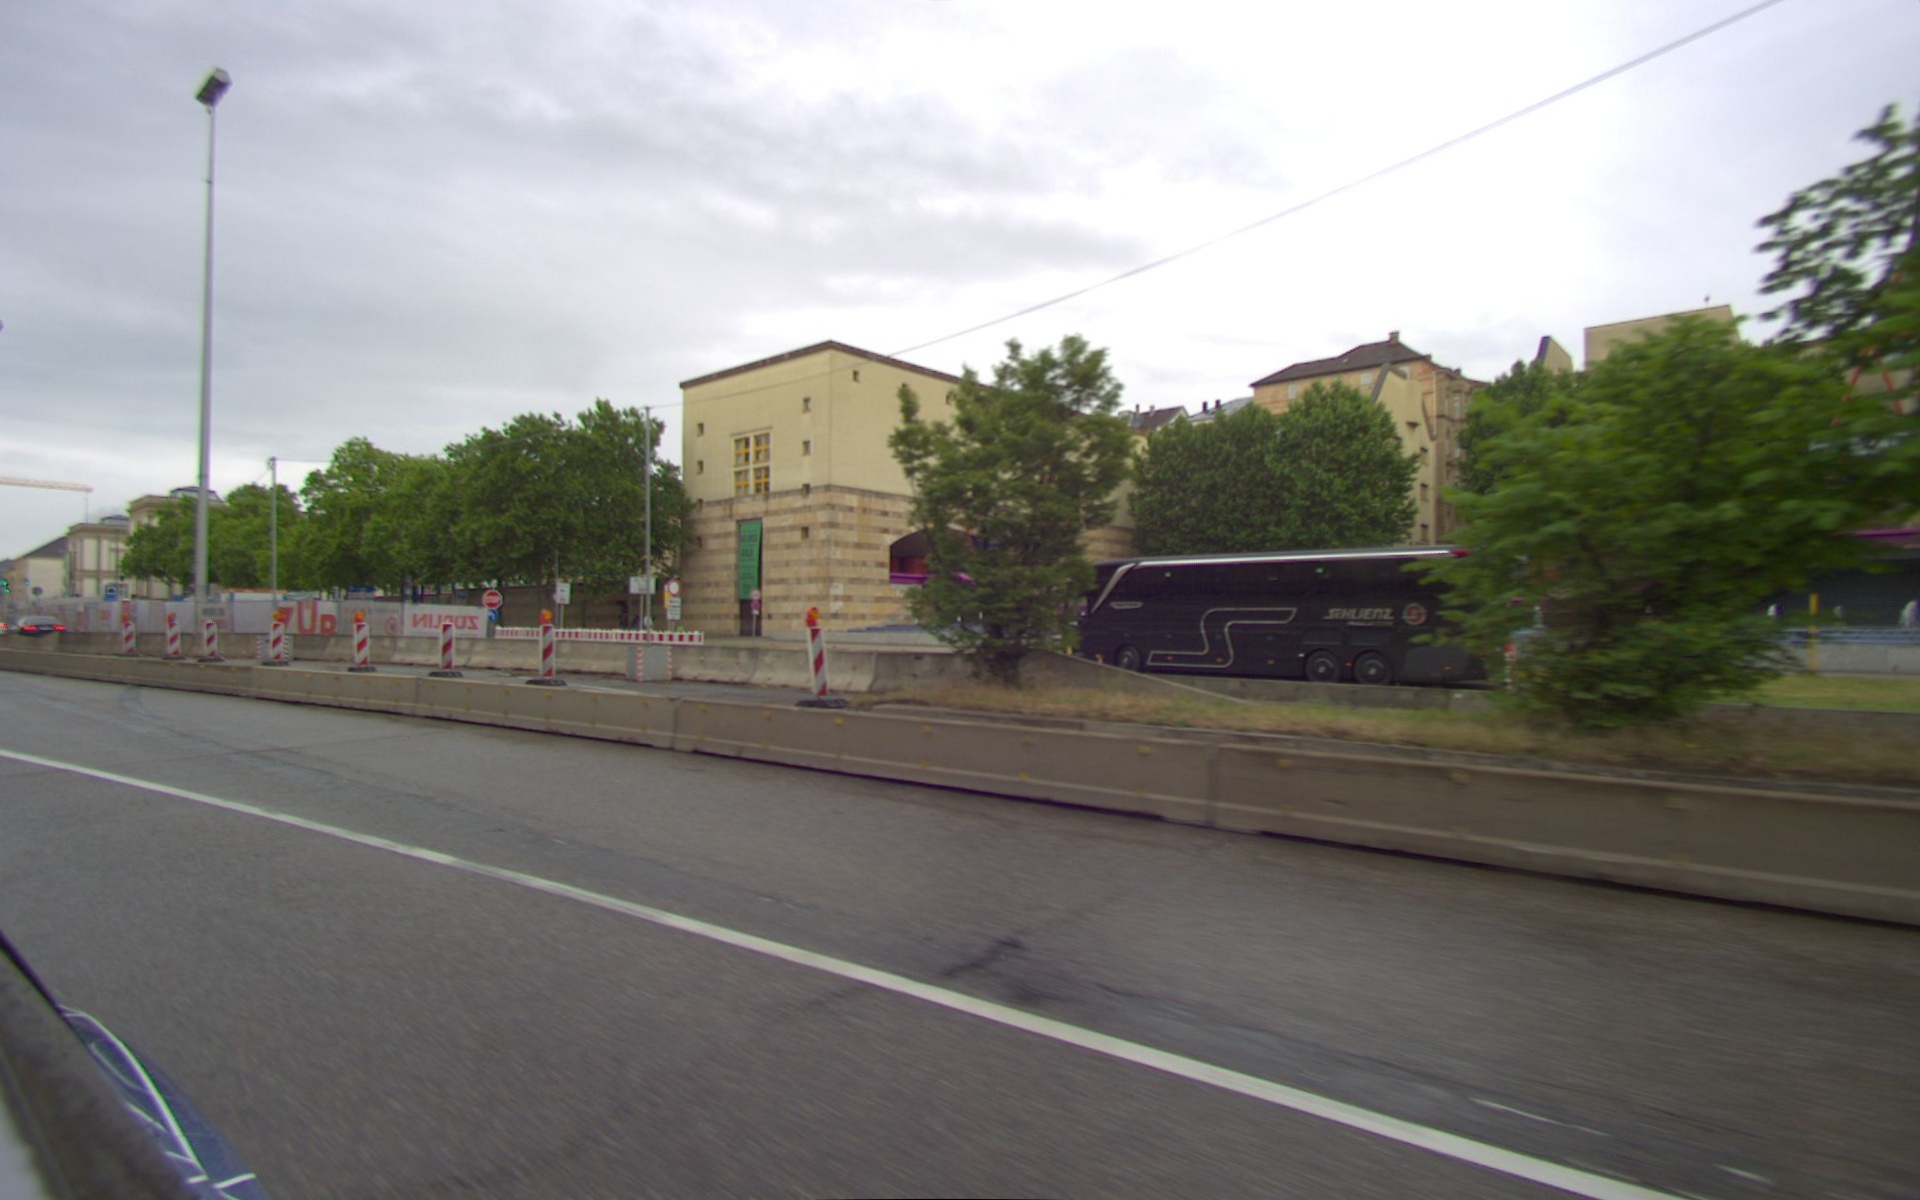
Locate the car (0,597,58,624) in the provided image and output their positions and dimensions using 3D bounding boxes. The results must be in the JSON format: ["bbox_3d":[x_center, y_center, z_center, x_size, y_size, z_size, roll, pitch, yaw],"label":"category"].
[{"bbox_3d":[-48.071,0.553,51.290,4.738,1.272,1.766,-1,0,24],"label":"car"}]

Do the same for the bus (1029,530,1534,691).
[{"bbox_3d":[8.533,0.359,30.129,14.602,3.840,2.772,-1,0,44],"label":"bus"}]

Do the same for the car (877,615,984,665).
[{"bbox_3d":[-0.979,1.296,32.988,3.210,1.512,1.576,-1,-4,38],"label":"car"}]

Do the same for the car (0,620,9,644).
[{"bbox_3d":[-63.739,2.103,65.738,3.988,1.542,1.978,-1,-2,33],"label":"car"}]
